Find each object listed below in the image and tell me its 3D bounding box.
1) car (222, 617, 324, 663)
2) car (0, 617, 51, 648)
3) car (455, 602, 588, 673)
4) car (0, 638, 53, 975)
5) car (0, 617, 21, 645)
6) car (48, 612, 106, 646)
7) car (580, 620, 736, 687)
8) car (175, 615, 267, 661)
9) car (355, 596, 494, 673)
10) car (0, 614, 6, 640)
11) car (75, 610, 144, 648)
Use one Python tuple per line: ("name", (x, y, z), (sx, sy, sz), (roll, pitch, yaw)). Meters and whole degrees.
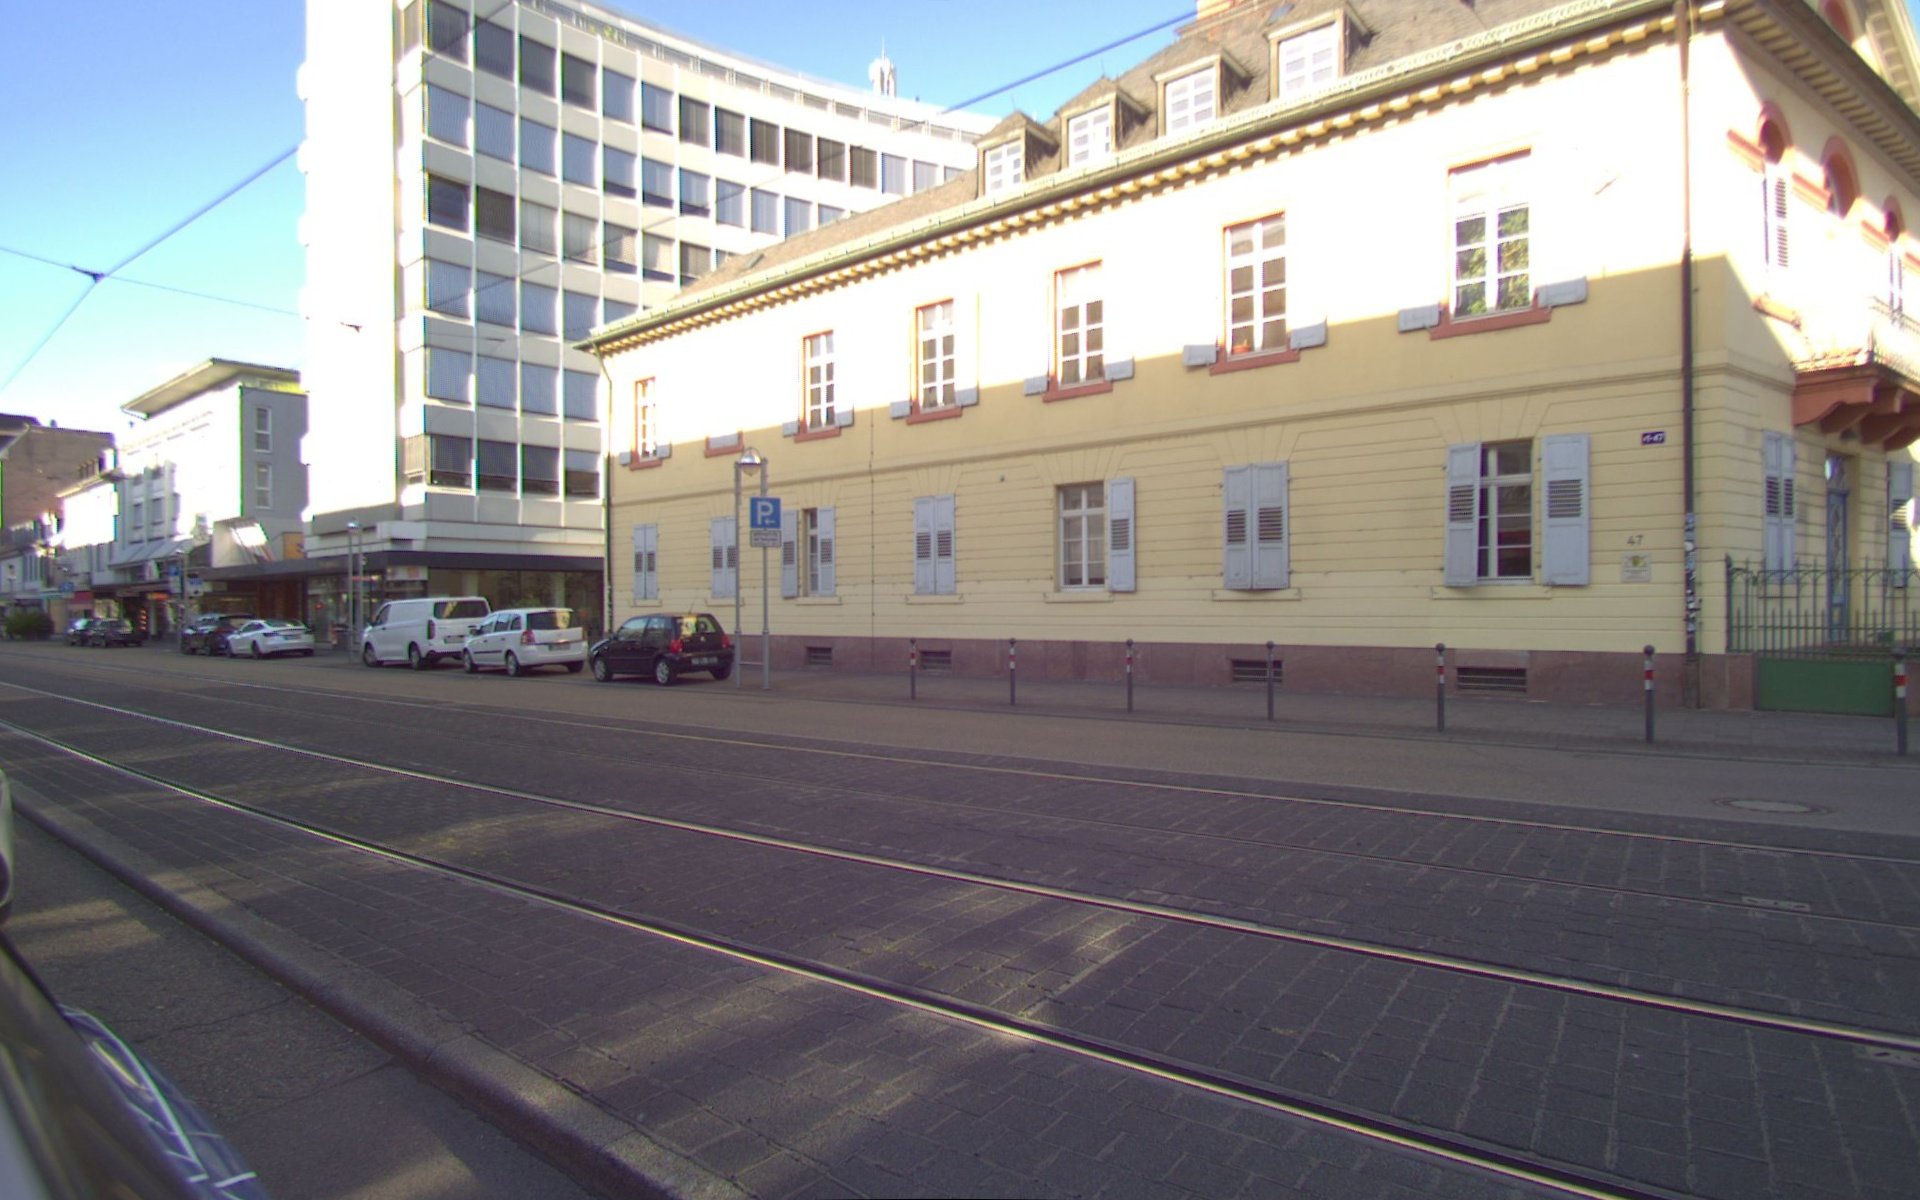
("car", (-25.601, 1.443, 37.664), (4.369, 1.541, 1.974), (-1, 0, 39))
("car", (-62.850, 2.164, 67.931), (3.996, 2.058, 2.172), (-1, -1, 39))
("car", (-11.026, 0.890, 25.330), (4.005, 1.621, 1.619), (-1, 0, 43))
("car", (-6.083, 0.901, 4.813), (3.992, 1.393, 1.862), (-1, 0, 36))
("car", (-71.060, 2.282, 74.851), (3.998, 2.029, 1.973), (-1, -1, 41))
("car", (-50.433, 1.648, 57.794), (3.994, 1.896, 1.768), (-1, -1, 38))
("car", (-6.431, 1.080, 21.456), (3.210, 1.263, 1.667), (-1, 0, 39))
("car", (-29.920, 1.489, 40.961), (4.103, 1.717, 1.975), (-1, 0, 38))
("car", (-15.362, 0.969, 28.947), (4.619, 2.029, 2.014), (-1, -1, 41))
("car", (-78.853, 2.185, 81.768), (3.995, 2.029, 1.974), (-1, 0, 38))
("car", (-43.885, 1.455, 52.217), (3.995, 1.874, 1.974), (-1, 0, 38))
